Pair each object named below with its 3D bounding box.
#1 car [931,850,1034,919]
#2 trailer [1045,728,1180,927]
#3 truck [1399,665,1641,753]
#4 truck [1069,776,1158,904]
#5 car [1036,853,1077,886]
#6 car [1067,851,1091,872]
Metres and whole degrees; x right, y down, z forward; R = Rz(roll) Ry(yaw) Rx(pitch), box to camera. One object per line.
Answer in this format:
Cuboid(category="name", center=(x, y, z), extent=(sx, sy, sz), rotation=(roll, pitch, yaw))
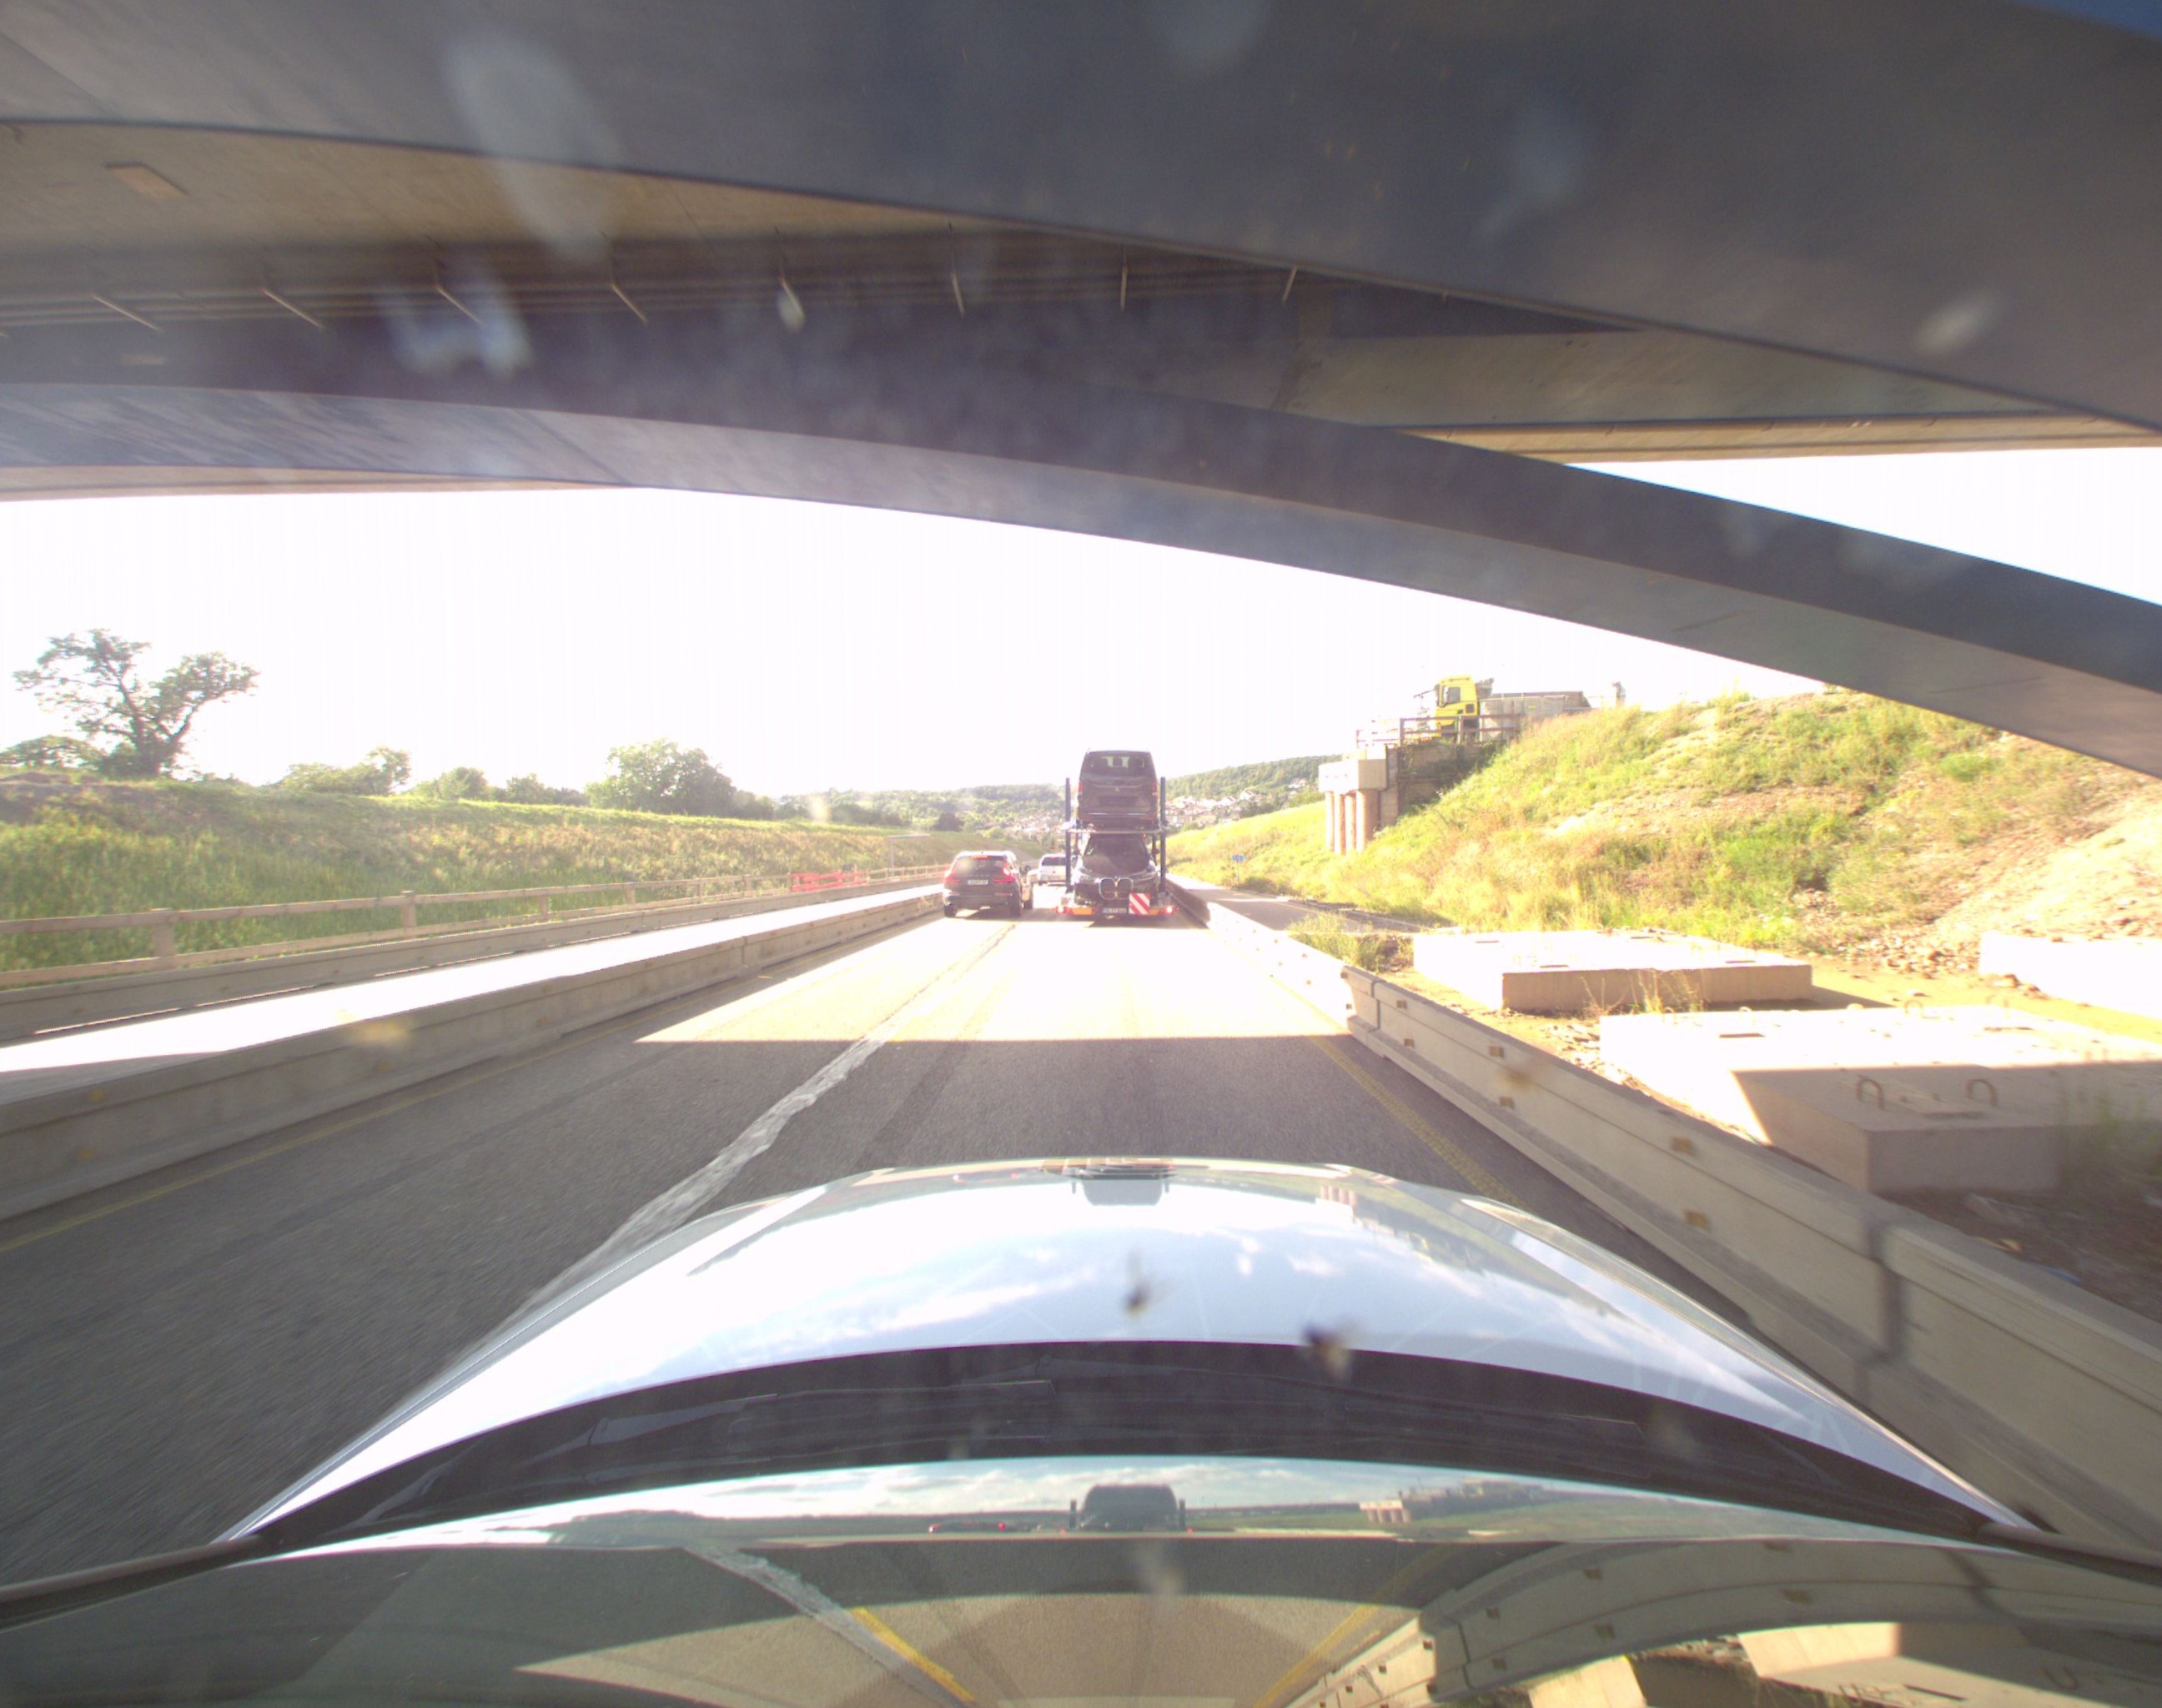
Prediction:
Cuboid(category="car", center=(-2.468, 0.711, 21.559), extent=(1.986, 1.625, 4.752), rotation=(-1, 0, 2))
Cuboid(category="trailer", center=(0.881, -0.530, 22.453), extent=(2.697, 4.029, 11.425), rotation=(-1, 0, 2))
Cuboid(category="truck", center=(19.468, -6.427, 36.533), extent=(9.231, 3.228, 2.960), rotation=(-1, 0, 1))
Cuboid(category="truck", center=(1.167, -0.419, 28.264), extent=(2.667, 3.922, 6.032), rotation=(-1, 0, 3))
Cuboid(category="car", center=(-1.199, 0.775, 42.503), extent=(1.789, 1.596, 4.745), rotation=(-1, 0, 2))
Cuboid(category="car", center=(-0.107, 0.580, 63.273), extent=(1.790, 1.530, 4.295), rotation=(-1, 0, 0))
